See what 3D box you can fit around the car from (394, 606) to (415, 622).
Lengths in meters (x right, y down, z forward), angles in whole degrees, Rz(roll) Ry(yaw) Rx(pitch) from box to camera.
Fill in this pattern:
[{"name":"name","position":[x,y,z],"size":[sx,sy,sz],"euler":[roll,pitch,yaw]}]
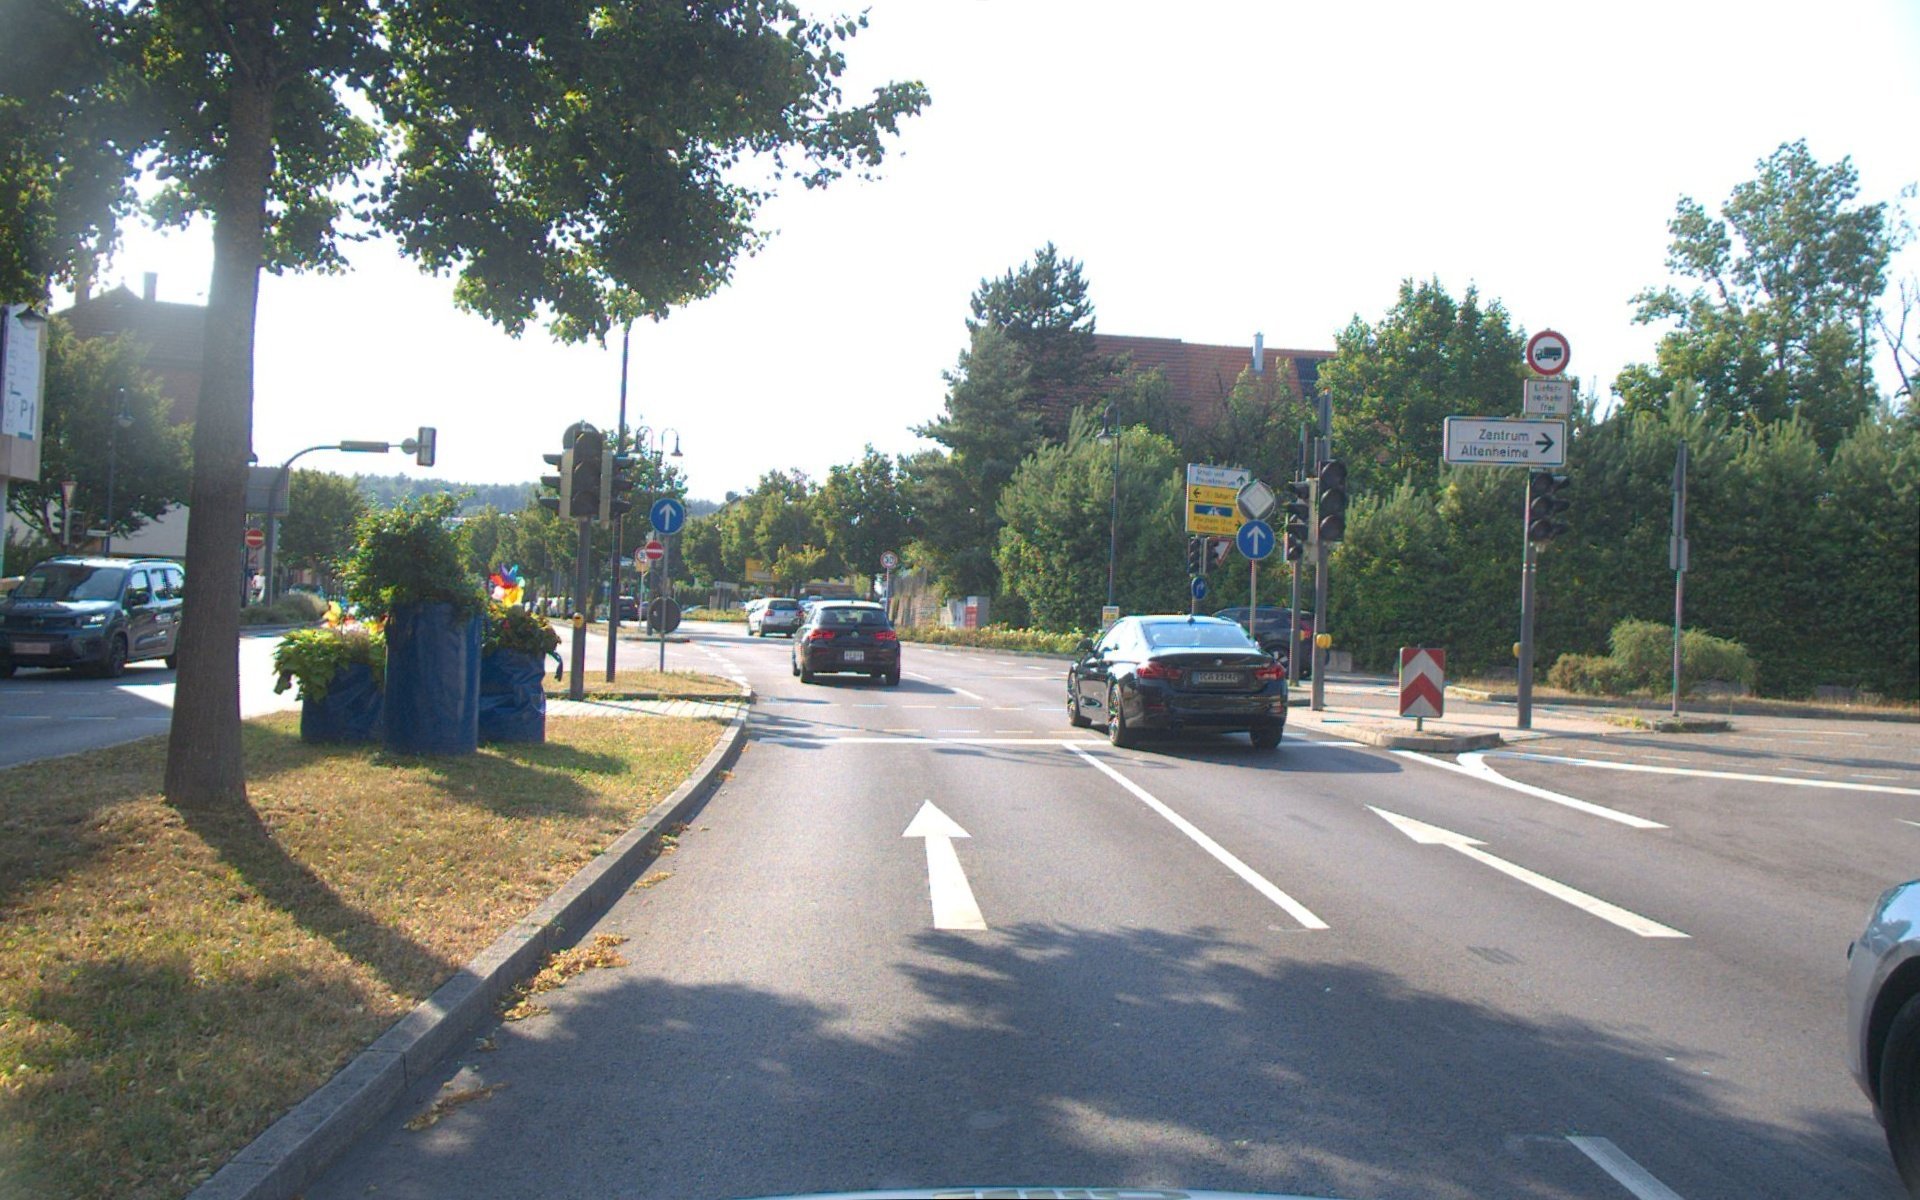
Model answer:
[{"name":"car","position":[-52.224,1.333,155.482],"size":[1.728,1.385,4.463],"euler":[1,0,-17]}]

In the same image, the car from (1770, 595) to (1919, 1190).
[{"name":"car","position":[3.373,0.775,2.839],"size":[1.686,1.516,4.304],"euler":[1,0,-3]}]

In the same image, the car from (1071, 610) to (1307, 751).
[{"name":"car","position":[2.444,0.827,18.741],"size":[1.882,1.388,4.350],"euler":[1,-1,-3]}]

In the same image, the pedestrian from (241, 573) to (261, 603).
[{"name":"pedestrian","position":[-33.637,-0.577,78.518],"size":[0.801,1.418,0.702],"euler":[1,0,-21]}]

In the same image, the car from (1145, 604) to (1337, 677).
[{"name":"car","position":[6.758,0.942,39.869],"size":[4.181,1.594,1.788],"euler":[1,0,33]}]

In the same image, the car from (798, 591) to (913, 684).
[{"name":"car","position":[-1.834,0.648,30.143],"size":[1.685,1.516,4.353],"euler":[2,0,1]}]

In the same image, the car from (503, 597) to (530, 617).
[{"name":"car","position":[-41.999,0.623,156.561],"size":[2.184,1.800,4.429],"euler":[1,0,-20]}]

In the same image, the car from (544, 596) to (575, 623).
[{"name":"car","position":[-28.255,0.663,116.582],"size":[1.730,1.800,3.948],"euler":[1,0,-20]}]

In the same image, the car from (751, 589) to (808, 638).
[{"name":"car","position":[-7.004,0.497,64.005],"size":[1.890,1.800,4.444],"euler":[1,0,-10]}]

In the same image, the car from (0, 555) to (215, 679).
[{"name":"car","position":[-13.670,0.251,26.343],"size":[1.817,1.767,4.915],"euler":[1,0,-6]}]

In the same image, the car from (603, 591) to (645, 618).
[{"name":"car","position":[-22.894,0.290,112.476],"size":[2.184,1.800,4.429],"euler":[1,0,-20]}]
